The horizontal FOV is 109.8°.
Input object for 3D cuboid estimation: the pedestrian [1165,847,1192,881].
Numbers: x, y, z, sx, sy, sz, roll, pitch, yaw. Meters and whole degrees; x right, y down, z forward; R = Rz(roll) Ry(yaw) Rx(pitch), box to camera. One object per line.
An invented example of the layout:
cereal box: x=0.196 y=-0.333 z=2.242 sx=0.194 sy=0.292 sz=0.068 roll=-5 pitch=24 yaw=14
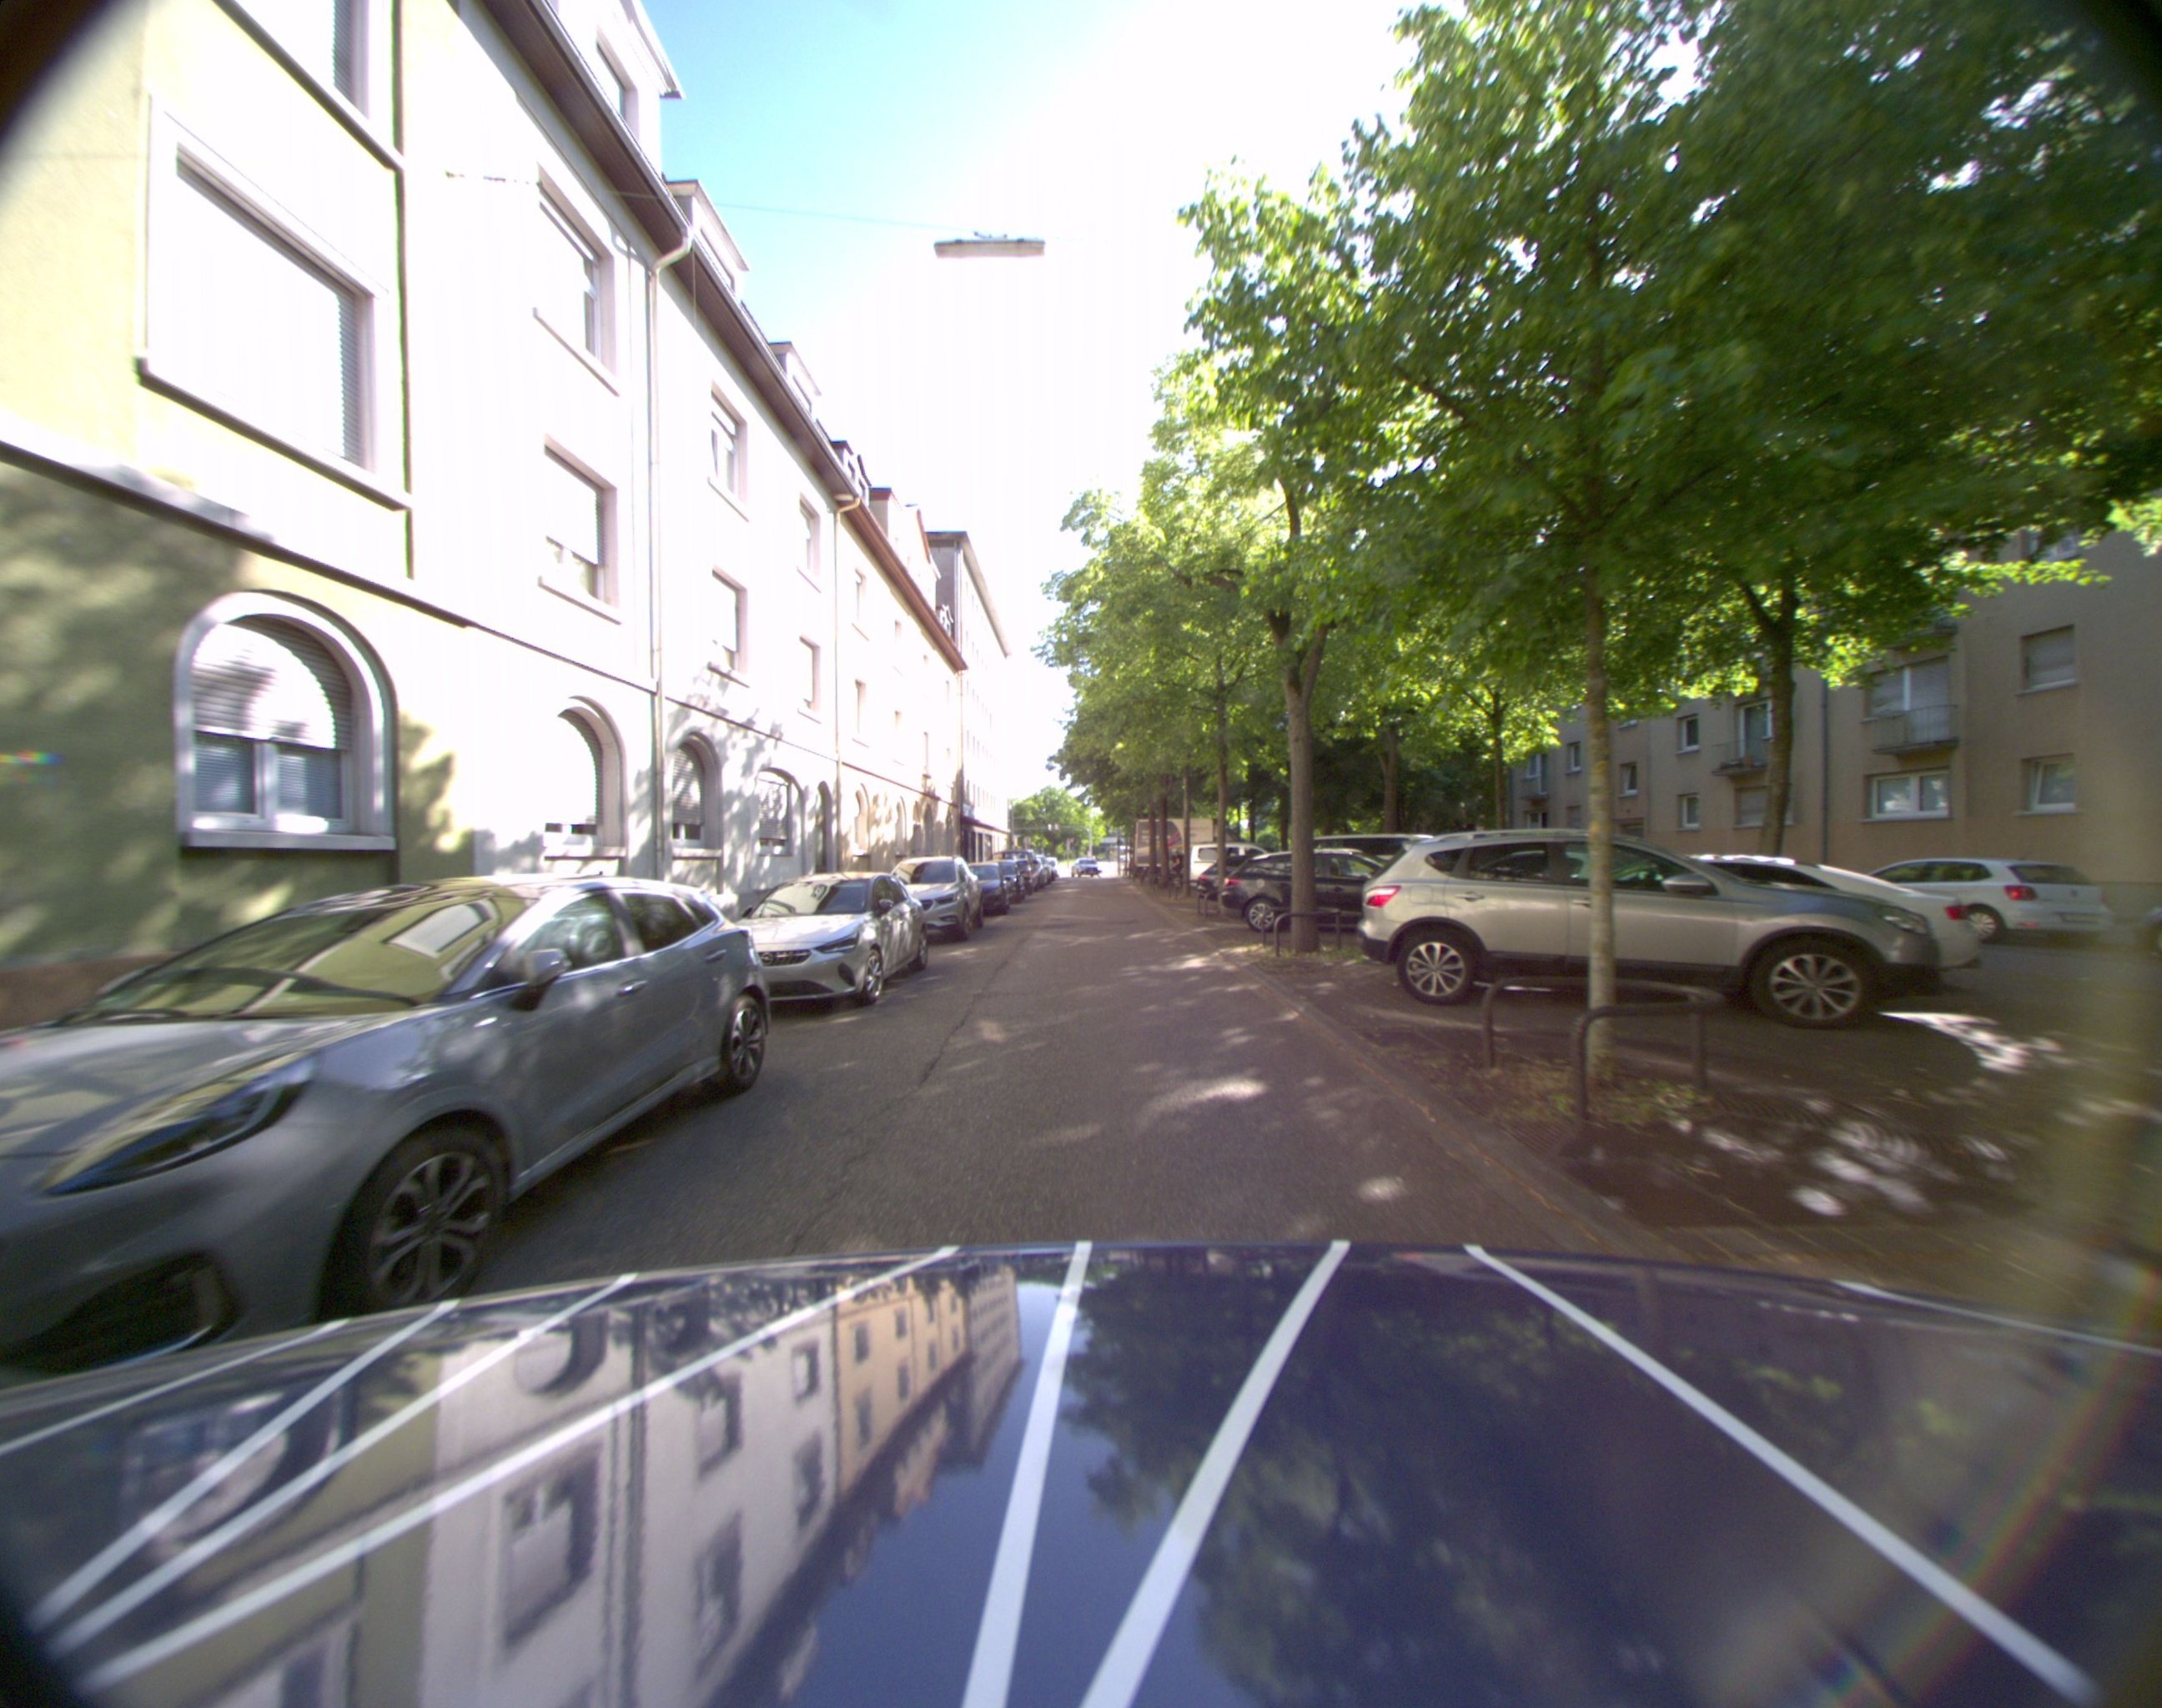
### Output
pedestrian: x=4.029 y=0.390 z=31.431 sx=0.751 sy=1.388 sz=0.930 roll=0 pitch=1 yaw=32

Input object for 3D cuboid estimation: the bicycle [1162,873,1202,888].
bicycle: x=4.104 y=1.077 z=30.970 sx=1.610 sy=0.555 sz=0.410 roll=-1 pitch=1 yaw=32

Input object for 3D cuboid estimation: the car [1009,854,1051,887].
car: x=-2.506 y=0.779 z=38.028 sx=1.766 sy=1.491 sz=4.238 roll=-1 pitch=0 yaw=0

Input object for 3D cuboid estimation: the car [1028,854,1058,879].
car: x=-2.476 y=0.763 z=48.763 sx=1.807 sy=1.455 sz=4.438 roll=-1 pitch=0 yaw=-4

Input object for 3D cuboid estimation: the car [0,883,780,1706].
car: x=-3.086 y=0.998 z=3.605 sx=1.727 sy=1.519 sz=4.157 roll=-1 pitch=0 yaw=-1

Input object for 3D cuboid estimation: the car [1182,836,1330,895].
car: x=5.947 y=0.377 z=25.800 sx=4.512 sy=1.854 sz=2.084 roll=-1 pitch=1 yaw=26

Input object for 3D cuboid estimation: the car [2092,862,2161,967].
car: x=15.696 y=0.840 z=9.095 sx=1.896 sy=1.409 sz=4.000 roll=-1 pitch=0 yaw=1

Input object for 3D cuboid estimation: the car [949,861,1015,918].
car: x=-2.724 y=0.942 z=21.639 sx=1.553 sy=1.386 sz=3.860 roll=-1 pitch=0 yaw=-3

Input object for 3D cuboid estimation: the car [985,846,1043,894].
car: x=-2.775 y=0.617 z=32.549 sx=1.953 sy=1.889 sz=4.845 roll=-1 pitch=0 yaw=1

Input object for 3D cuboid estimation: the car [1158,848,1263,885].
car: x=5.539 y=0.541 z=32.669 sx=4.097 sy=1.497 sz=1.736 roll=-1 pitch=1 yaw=32

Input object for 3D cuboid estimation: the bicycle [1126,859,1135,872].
bicycle: x=4.101 y=0.930 z=62.474 sx=0.354 sy=1.066 sz=1.591 roll=-1 pitch=0 yaw=-10

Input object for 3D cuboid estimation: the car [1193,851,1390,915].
car: x=5.271 y=0.685 z=19.252 sx=4.477 sy=1.447 sz=1.791 roll=-1 pitch=1 yaw=32

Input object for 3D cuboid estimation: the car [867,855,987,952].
car: x=-2.998 y=0.887 z=15.617 sx=1.727 sy=1.676 sz=4.157 roll=-1 pitch=0 yaw=-2

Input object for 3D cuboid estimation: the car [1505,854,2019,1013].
car: x=7.263 y=0.789 z=8.723 sx=4.032 sy=1.395 sz=1.827 roll=-2 pitch=0 yaw=33

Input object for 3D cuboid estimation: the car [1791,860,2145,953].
car: x=15.887 y=0.851 z=14.012 sx=1.896 sy=1.379 sz=4.000 roll=-1 pitch=0 yaw=1

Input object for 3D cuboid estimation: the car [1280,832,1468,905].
car: x=8.096 y=0.346 z=21.060 sx=4.593 sy=1.822 sz=2.022 roll=0 pitch=1 yaw=30

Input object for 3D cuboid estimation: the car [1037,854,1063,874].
car: x=-2.417 y=0.764 z=59.493 sx=1.723 sy=1.488 sz=4.023 roll=-1 pitch=0 yaw=2

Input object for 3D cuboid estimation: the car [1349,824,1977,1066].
car: x=4.809 y=0.642 z=7.020 sx=4.136 sy=1.669 sz=1.762 roll=-1 pitch=1 yaw=29

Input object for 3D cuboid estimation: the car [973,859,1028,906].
car: x=-2.770 y=0.936 z=26.795 sx=1.626 sy=1.489 sz=3.594 roll=-1 pitch=0 yaw=-2

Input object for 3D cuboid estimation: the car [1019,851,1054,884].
car: x=-2.486 y=0.718 z=43.357 sx=1.766 sy=1.743 sz=4.509 roll=-1 pitch=0 yaw=-1

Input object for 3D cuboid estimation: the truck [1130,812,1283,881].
truck: x=6.373 y=-0.358 z=38.970 sx=7.305 sy=3.274 sz=2.552 roll=0 pitch=1 yaw=32

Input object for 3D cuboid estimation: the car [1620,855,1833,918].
car: x=15.730 y=0.724 z=18.843 sx=1.896 sy=1.379 sz=4.000 roll=0 pitch=0 yaw=1

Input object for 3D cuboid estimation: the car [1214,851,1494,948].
car: x=4.783 y=0.715 z=13.545 sx=4.411 sy=1.453 sz=1.719 roll=-1 pitch=1 yaw=33

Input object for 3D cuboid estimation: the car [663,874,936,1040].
car: x=-3.053 y=1.032 z=9.254 sx=1.727 sy=1.424 sz=4.158 roll=-1 pitch=0 yaw=0

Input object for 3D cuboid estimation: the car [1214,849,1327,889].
car: x=7.126 y=0.546 z=28.695 sx=3.791 sy=1.398 sz=1.627 roll=-1 pitch=1 yaw=34
